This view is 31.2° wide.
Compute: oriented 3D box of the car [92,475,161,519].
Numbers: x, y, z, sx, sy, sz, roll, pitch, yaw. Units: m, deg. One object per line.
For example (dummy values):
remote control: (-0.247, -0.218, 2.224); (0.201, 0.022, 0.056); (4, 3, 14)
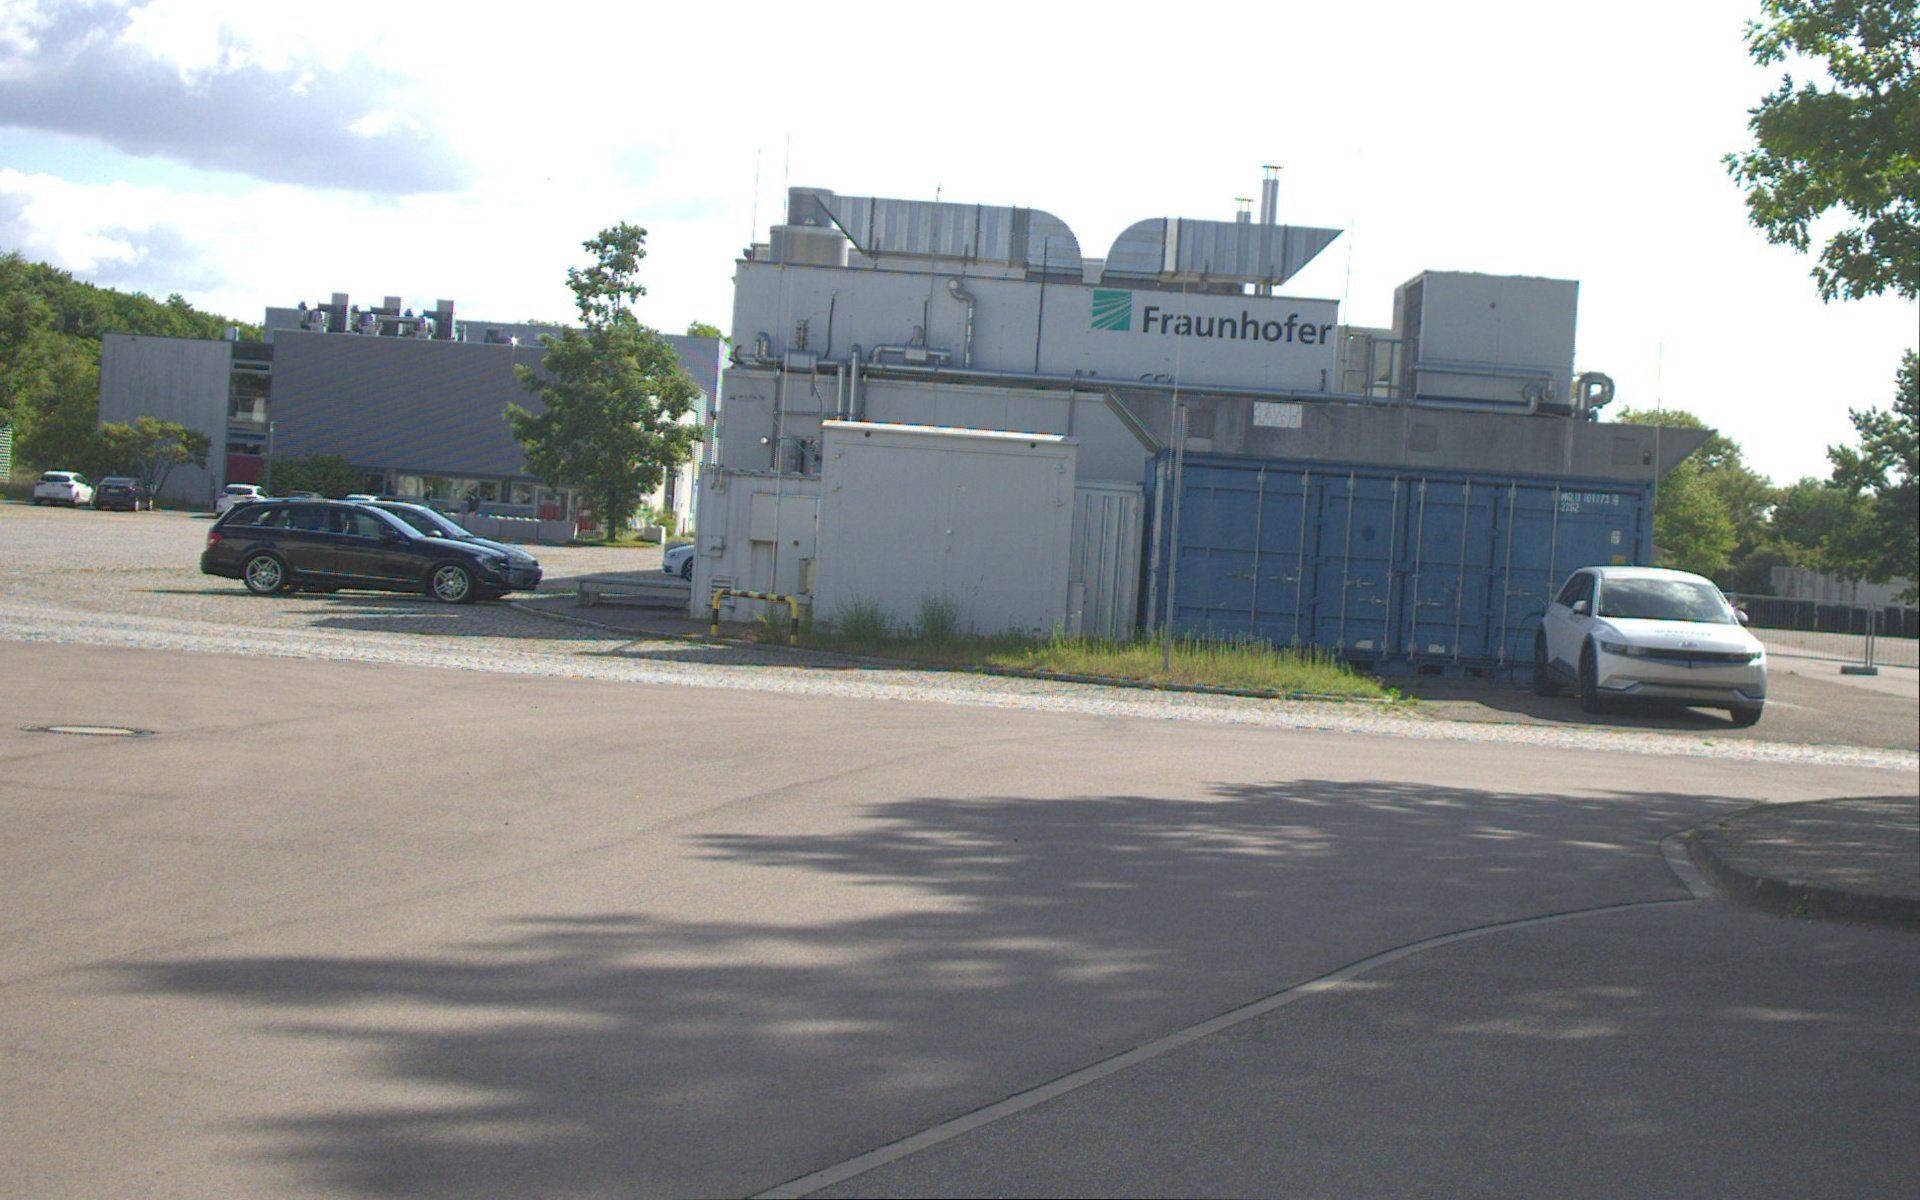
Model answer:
car: (-35.848, -4.419, 147.975); (1.993, 1.730, 4.000); (2, 1, -1)

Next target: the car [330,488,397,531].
car: (-25.743, -3.903, 148.438); (2.193, 1.730, 4.000); (2, 1, -1)

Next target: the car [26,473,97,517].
car: (-38.654, -4.513, 148.038); (1.993, 1.730, 4.000); (2, 1, -1)

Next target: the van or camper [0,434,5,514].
van or camper: (-37.946, -4.762, 124.820); (5.714, 2.918, 2.474); (3, 1, -2)

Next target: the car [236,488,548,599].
car: (-8.965, -0.904, 54.513); (4.526, 1.503, 1.909); (3, 1, 2)

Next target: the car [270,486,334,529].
car: (-28.328, -3.954, 148.102); (1.993, 1.730, 4.000); (2, 1, -1)

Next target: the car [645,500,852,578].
car: (-4.817, -1.396, 78.856); (4.526, 1.503, 1.909); (3, 1, 1)

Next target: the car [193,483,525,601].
car: (-8.926, -0.862, 51.275); (4.526, 1.503, 1.909); (3, 1, 2)

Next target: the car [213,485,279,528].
car: (-30.825, -4.042, 148.461); (1.993, 1.730, 4.000); (2, 1, -1)

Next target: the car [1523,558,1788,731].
car: (7.712, 0.451, 38.541); (1.993, 1.580, 4.173); (3, 3, -1)
